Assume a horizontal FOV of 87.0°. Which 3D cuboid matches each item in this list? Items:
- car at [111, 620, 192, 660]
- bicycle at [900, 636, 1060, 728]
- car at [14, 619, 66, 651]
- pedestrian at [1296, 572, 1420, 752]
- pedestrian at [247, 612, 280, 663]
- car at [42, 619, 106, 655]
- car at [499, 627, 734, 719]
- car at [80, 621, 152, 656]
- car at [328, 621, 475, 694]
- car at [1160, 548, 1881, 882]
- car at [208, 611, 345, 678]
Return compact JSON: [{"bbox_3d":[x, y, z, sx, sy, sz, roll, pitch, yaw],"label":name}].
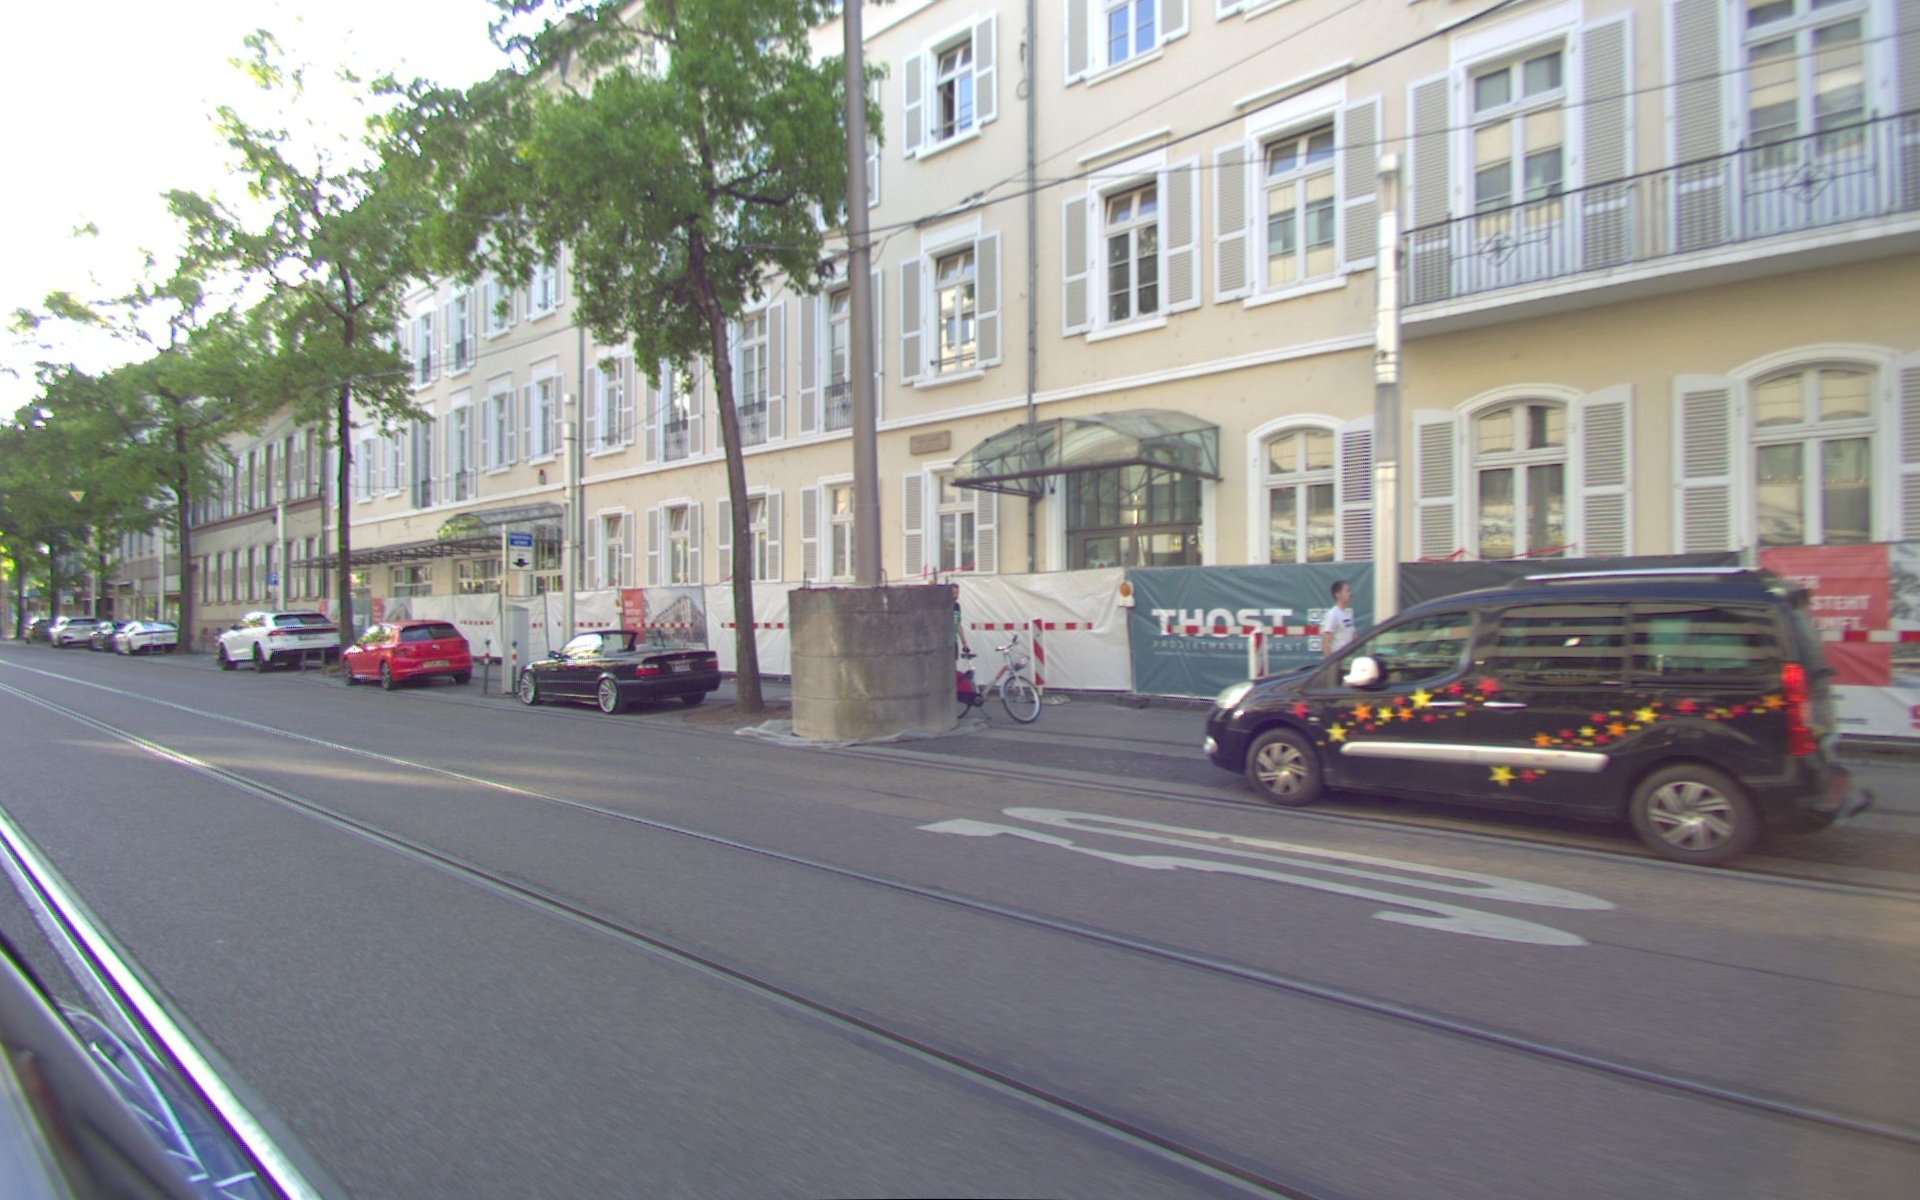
[{"bbox_3d":[-33.312,1.625,41.646,4.615,1.477,1.872,-2,1,42],"label":"car"},{"bbox_3d":[0.253,1.076,13.713,2.039,1.130,0.753,-1,1,31],"label":"bicycle"},{"bbox_3d":[-58.780,2.197,64.652,4.763,1.972,1.906,-2,-2,41],"label":"car"},{"bbox_3d":[4.270,0.629,10.860,0.984,1.805,0.766,-1,1,43],"label":"pedestrian"},{"bbox_3d":[-24.949,1.343,36.247,0.933,1.756,0.736,-1,1,42],"label":"pedestrian"},{"bbox_3d":[-47.821,1.983,54.597,4.763,1.754,1.927,-2,1,41],"label":"car"},{"bbox_3d":[-5.881,1.134,17.058,4.506,1.254,1.700,-1,1,41],"label":"car"},{"bbox_3d":[-39.144,1.784,46.910,4.338,1.478,1.724,-2,1,39],"label":"car"},{"bbox_3d":[-12.656,1.228,22.837,4.140,1.416,1.642,-1,1,43],"label":"car"},{"bbox_3d":[4.021,0.665,7.833,4.559,1.846,1.837,-1,-1,43],"label":"car"},{"bbox_3d":[-19.869,1.239,29.323,4.945,1.701,1.848,-1,1,39],"label":"car"}]
